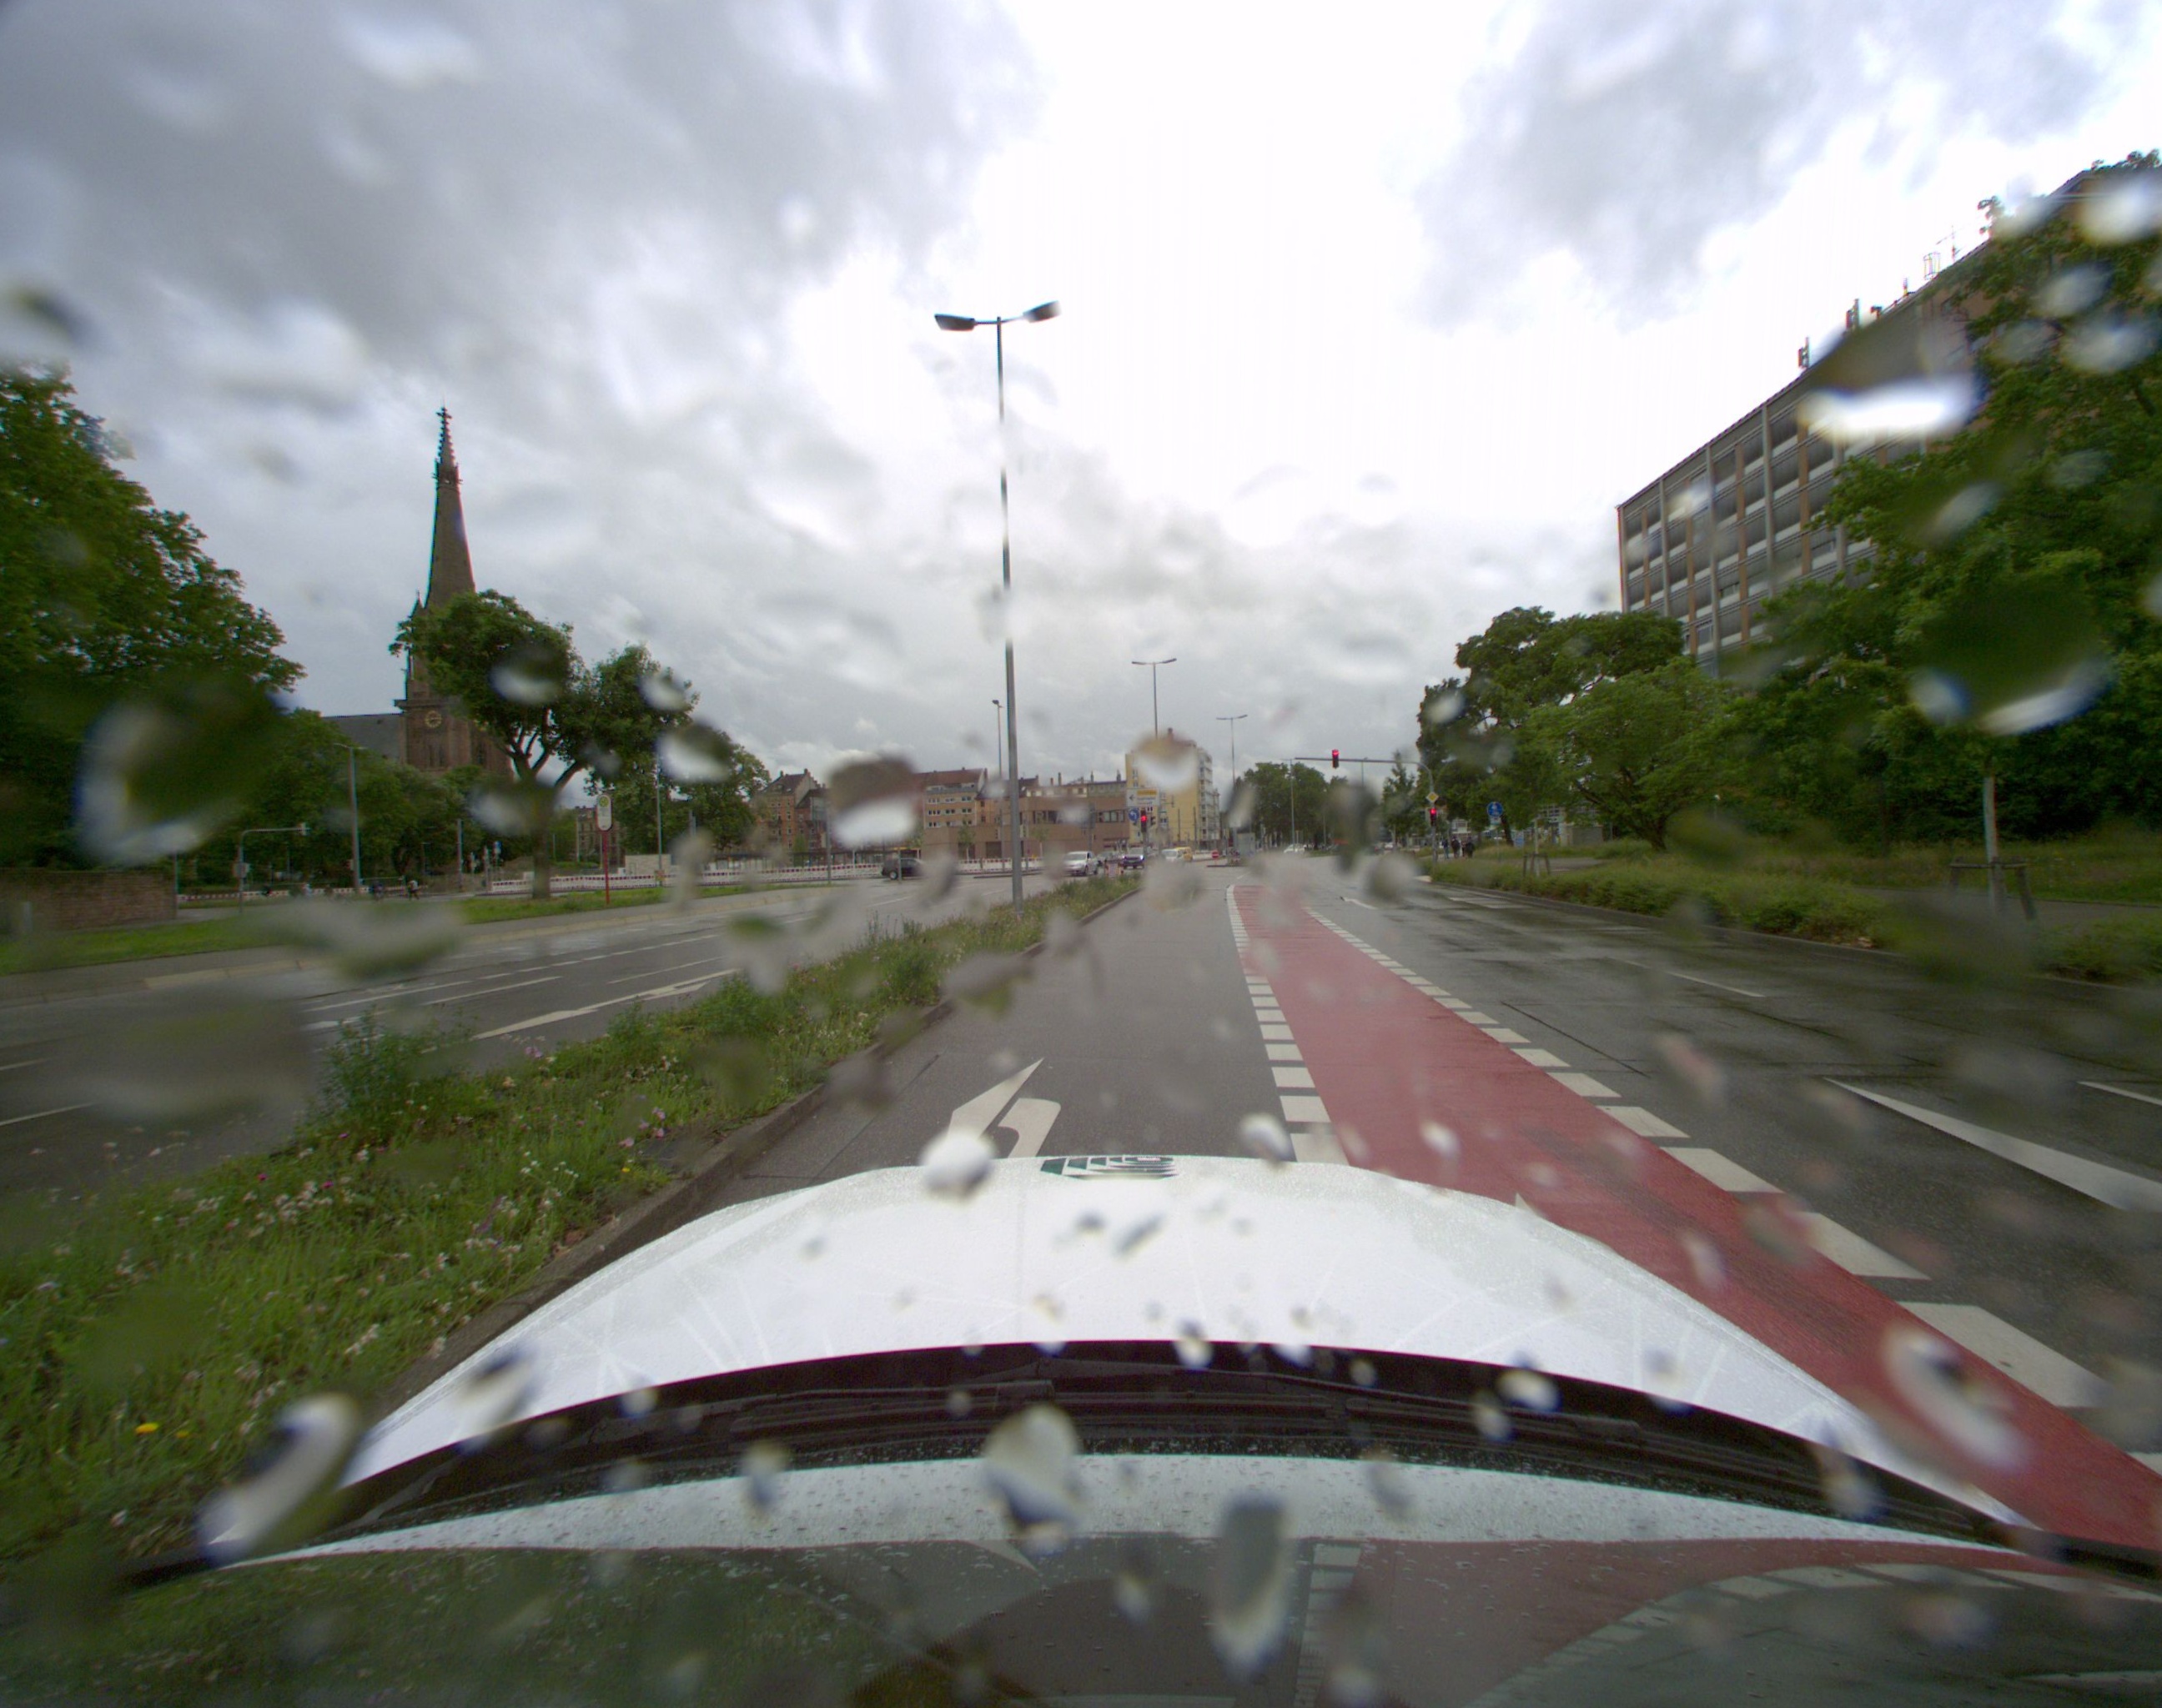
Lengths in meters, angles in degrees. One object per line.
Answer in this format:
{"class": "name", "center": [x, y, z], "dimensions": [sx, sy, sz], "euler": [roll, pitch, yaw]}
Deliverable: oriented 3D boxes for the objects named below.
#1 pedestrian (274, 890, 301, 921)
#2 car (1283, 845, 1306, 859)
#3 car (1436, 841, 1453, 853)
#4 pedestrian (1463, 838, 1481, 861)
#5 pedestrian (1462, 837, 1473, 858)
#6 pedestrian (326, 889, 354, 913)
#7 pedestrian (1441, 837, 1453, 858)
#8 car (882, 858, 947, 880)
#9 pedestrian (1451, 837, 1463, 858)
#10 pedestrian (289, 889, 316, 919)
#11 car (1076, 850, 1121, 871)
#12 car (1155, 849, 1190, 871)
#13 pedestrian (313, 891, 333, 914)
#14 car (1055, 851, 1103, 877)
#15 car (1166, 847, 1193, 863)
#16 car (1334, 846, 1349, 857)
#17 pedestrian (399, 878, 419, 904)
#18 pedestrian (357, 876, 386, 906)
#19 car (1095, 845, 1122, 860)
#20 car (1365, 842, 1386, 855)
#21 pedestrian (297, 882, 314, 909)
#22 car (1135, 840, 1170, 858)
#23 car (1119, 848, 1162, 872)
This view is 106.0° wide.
{"class": "pedestrian", "center": [-55.078, 3.572, 56.508], "dimensions": [0.850, 2.013, 0.959], "euler": [-2, 0, 11]}
{"class": "car", "center": [29.761, -0.255, 113.233], "dimensions": [1.809, 1.682, 5.198], "euler": [-4, 0, 28]}
{"class": "car", "center": [54.717, -1.069, 122.595], "dimensions": [1.772, 1.643, 4.186], "euler": [-2, 0, 33]}
{"class": "pedestrian", "center": [27.343, -0.316, 56.922], "dimensions": [1.013, 1.588, 0.941], "euler": [-2, 0, 21]}
{"class": "pedestrian", "center": [30.063, -0.538, 63.387], "dimensions": [0.697, 1.588, 0.941], "euler": [-2, 0, 21]}
{"class": "pedestrian", "center": [-48.831, 3.091, 53.658], "dimensions": [0.932, 1.539, 1.055], "euler": [-2, 0, -16]}
{"class": "pedestrian", "center": [28.734, -0.512, 63.962], "dimensions": [0.747, 1.588, 0.941], "euler": [-2, 0, 21]}
{"class": "car", "center": [-11.732, 1.067, 57.440], "dimensions": [4.172, 1.402, 1.620], "euler": [-2, 0, 4]}
{"class": "pedestrian", "center": [29.425, -0.531, 63.717], "dimensions": [0.697, 1.588, 0.941], "euler": [-2, 0, 21]}
{"class": "pedestrian", "center": [-54.109, 3.443, 56.604], "dimensions": [0.850, 2.013, 0.959], "euler": [-2, 0, 11]}
{"class": "car", "center": [1.529, 0.524, 70.870], "dimensions": [1.689, 1.706, 3.843], "euler": [-2, 0, 43]}
{"class": "car", "center": [6.933, 0.438, 61.319], "dimensions": [1.665, 1.501, 3.889], "euler": [-3, 0, 21]}
{"class": "pedestrian", "center": [-52.457, 3.358, 56.368], "dimensions": [0.674, 1.500, 0.770], "euler": [-2, 0, -15]}
{"class": "car", "center": [-0.085, 0.607, 49.855], "dimensions": [1.666, 1.404, 4.177], "euler": [-3, 0, 17]}
{"class": "car", "center": [11.147, 0.125, 91.836], "dimensions": [1.690, 1.706, 4.177], "euler": [-2, 0, 25]}
{"class": "car", "center": [45.548, -0.408, 142.243], "dimensions": [1.678, 1.690, 4.210], "euler": [-3, 2, 29]}
{"class": "pedestrian", "center": [-48.228, 2.643, 58.463], "dimensions": [0.719, 1.777, 0.777], "euler": [-2, 0, 11]}
{"class": "pedestrian", "center": [-49.876, 2.569, 57.285], "dimensions": [0.996, 2.013, 1.302], "euler": [-2, 0, -15]}
{"class": "car", "center": [5.811, -0.368, 171.825], "dimensions": [5.313, 2.887, 2.348], "euler": [-2, 0, 13]}
{"class": "car", "center": [39.486, -0.794, 109.233], "dimensions": [1.772, 1.643, 4.186], "euler": [-2, 0, 33]}
{"class": "pedestrian", "center": [-56.512, 3.032, 59.375], "dimensions": [0.602, 1.890, 0.603], "euler": [-2, 0, 5]}
{"class": "car", "center": [14.822, -0.992, 169.454], "dimensions": [6.693, 3.380, 2.820], "euler": [-2, 0, 13]}
{"class": "car", "center": [4.713, 0.467, 63.761], "dimensions": [1.976, 1.636, 4.627], "euler": [-4, 0, 21]}
